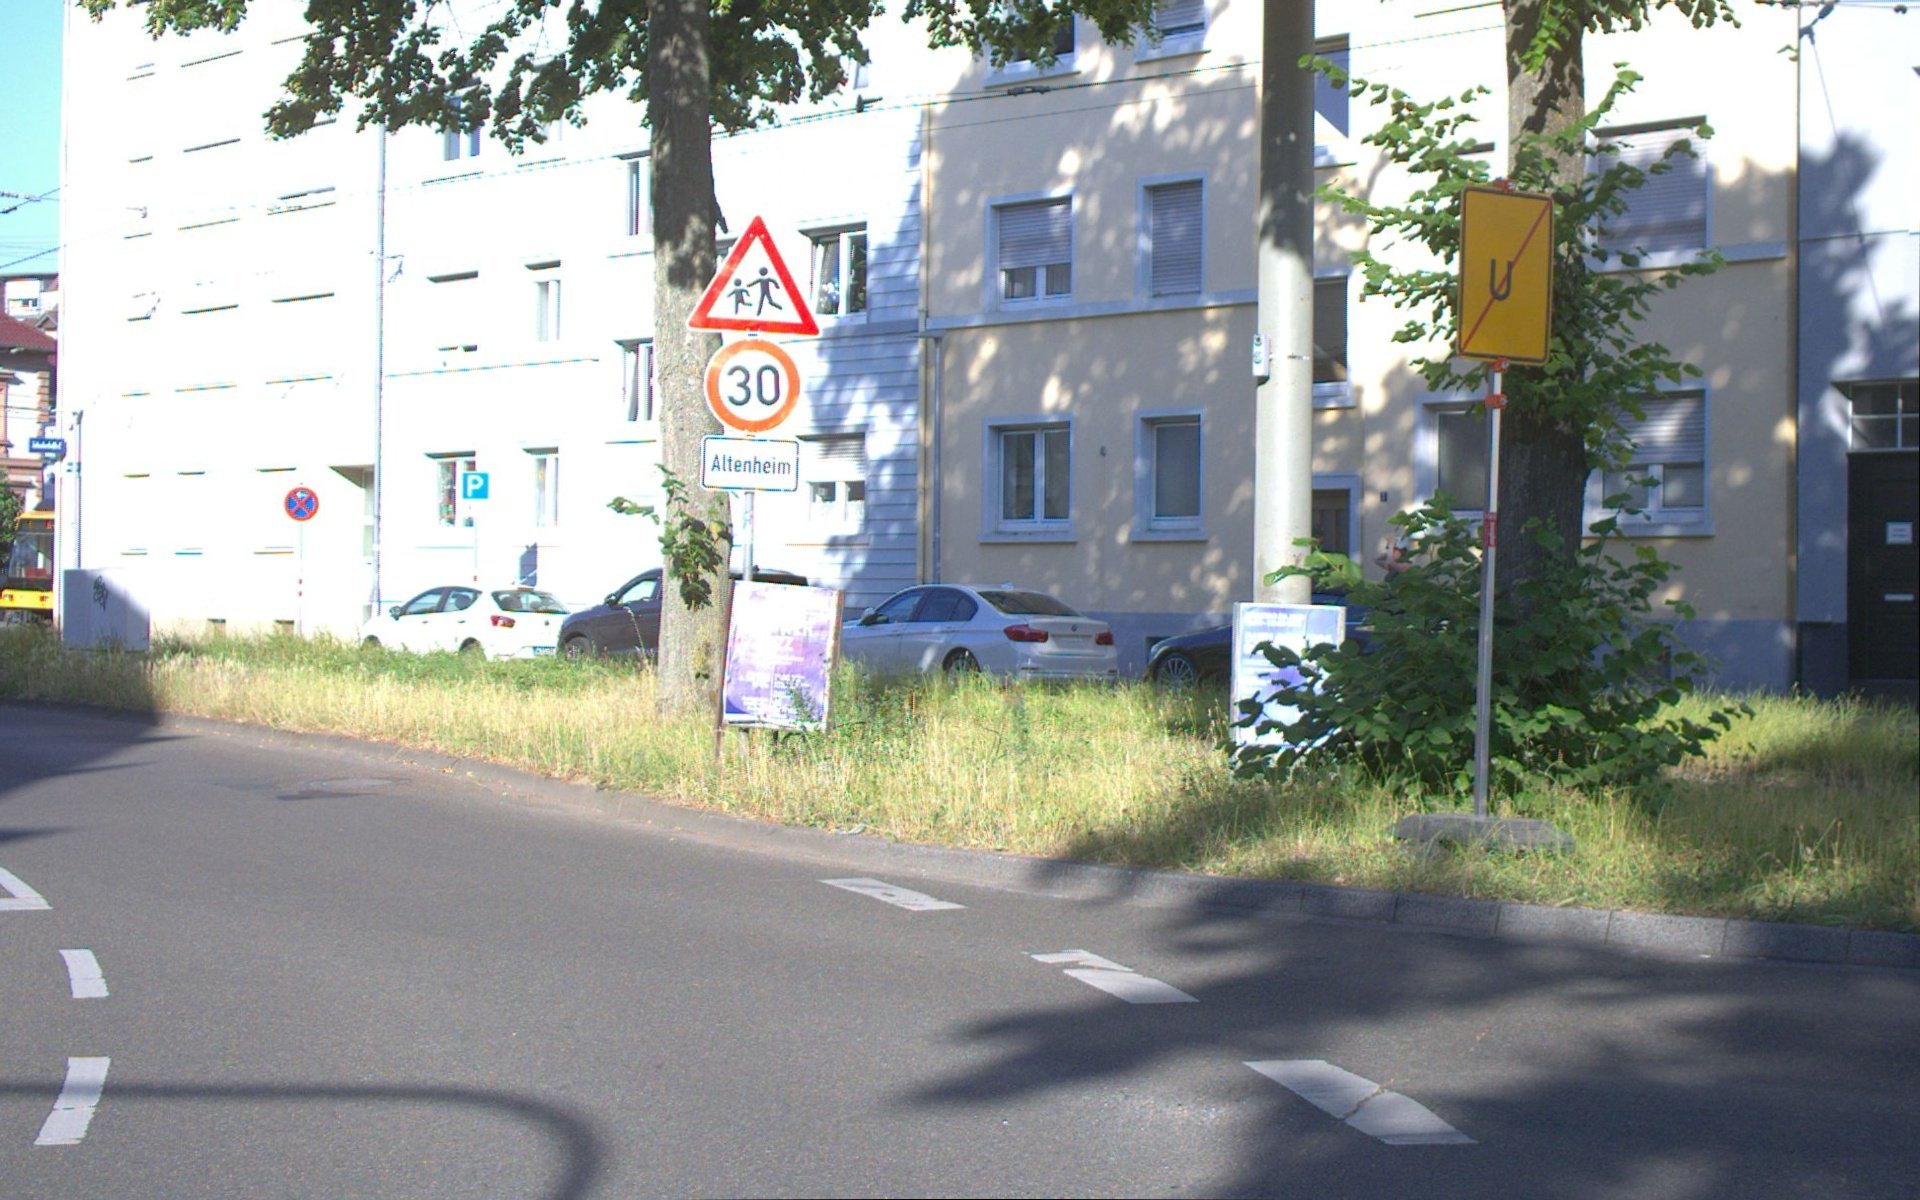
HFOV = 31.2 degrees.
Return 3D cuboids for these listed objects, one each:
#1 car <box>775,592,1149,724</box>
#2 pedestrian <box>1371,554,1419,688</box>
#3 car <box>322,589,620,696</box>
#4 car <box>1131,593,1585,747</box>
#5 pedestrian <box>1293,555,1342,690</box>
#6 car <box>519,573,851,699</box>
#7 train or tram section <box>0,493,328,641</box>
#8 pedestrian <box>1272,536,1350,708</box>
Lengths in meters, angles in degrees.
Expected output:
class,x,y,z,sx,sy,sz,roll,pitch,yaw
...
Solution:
class,x,y,z,sx,sy,sz,roll,pitch,yaw
car,-0.035,0.639,40.635,1.994,1.382,4.444,0,1,-41
pedestrian,4.931,0.235,38.998,0.443,1.509,0.304,1,1,42
car,-7.022,0.573,49.080,1.995,1.382,4.444,0,1,-44
car,4.017,0.670,35.320,1.994,1.382,4.444,0,1,-41
pedestrian,4.048,0.251,38.947,0.332,1.509,0.443,0,1,-44
car,-3.655,0.438,45.036,1.994,1.567,4.639,0,0,-41
train or tram section,-20.340,-0.768,87.215,2.780,3.543,9.903,1,0,29
pedestrian,4.140,0.254,40.550,0.612,2.007,0.649,1,0,-40
